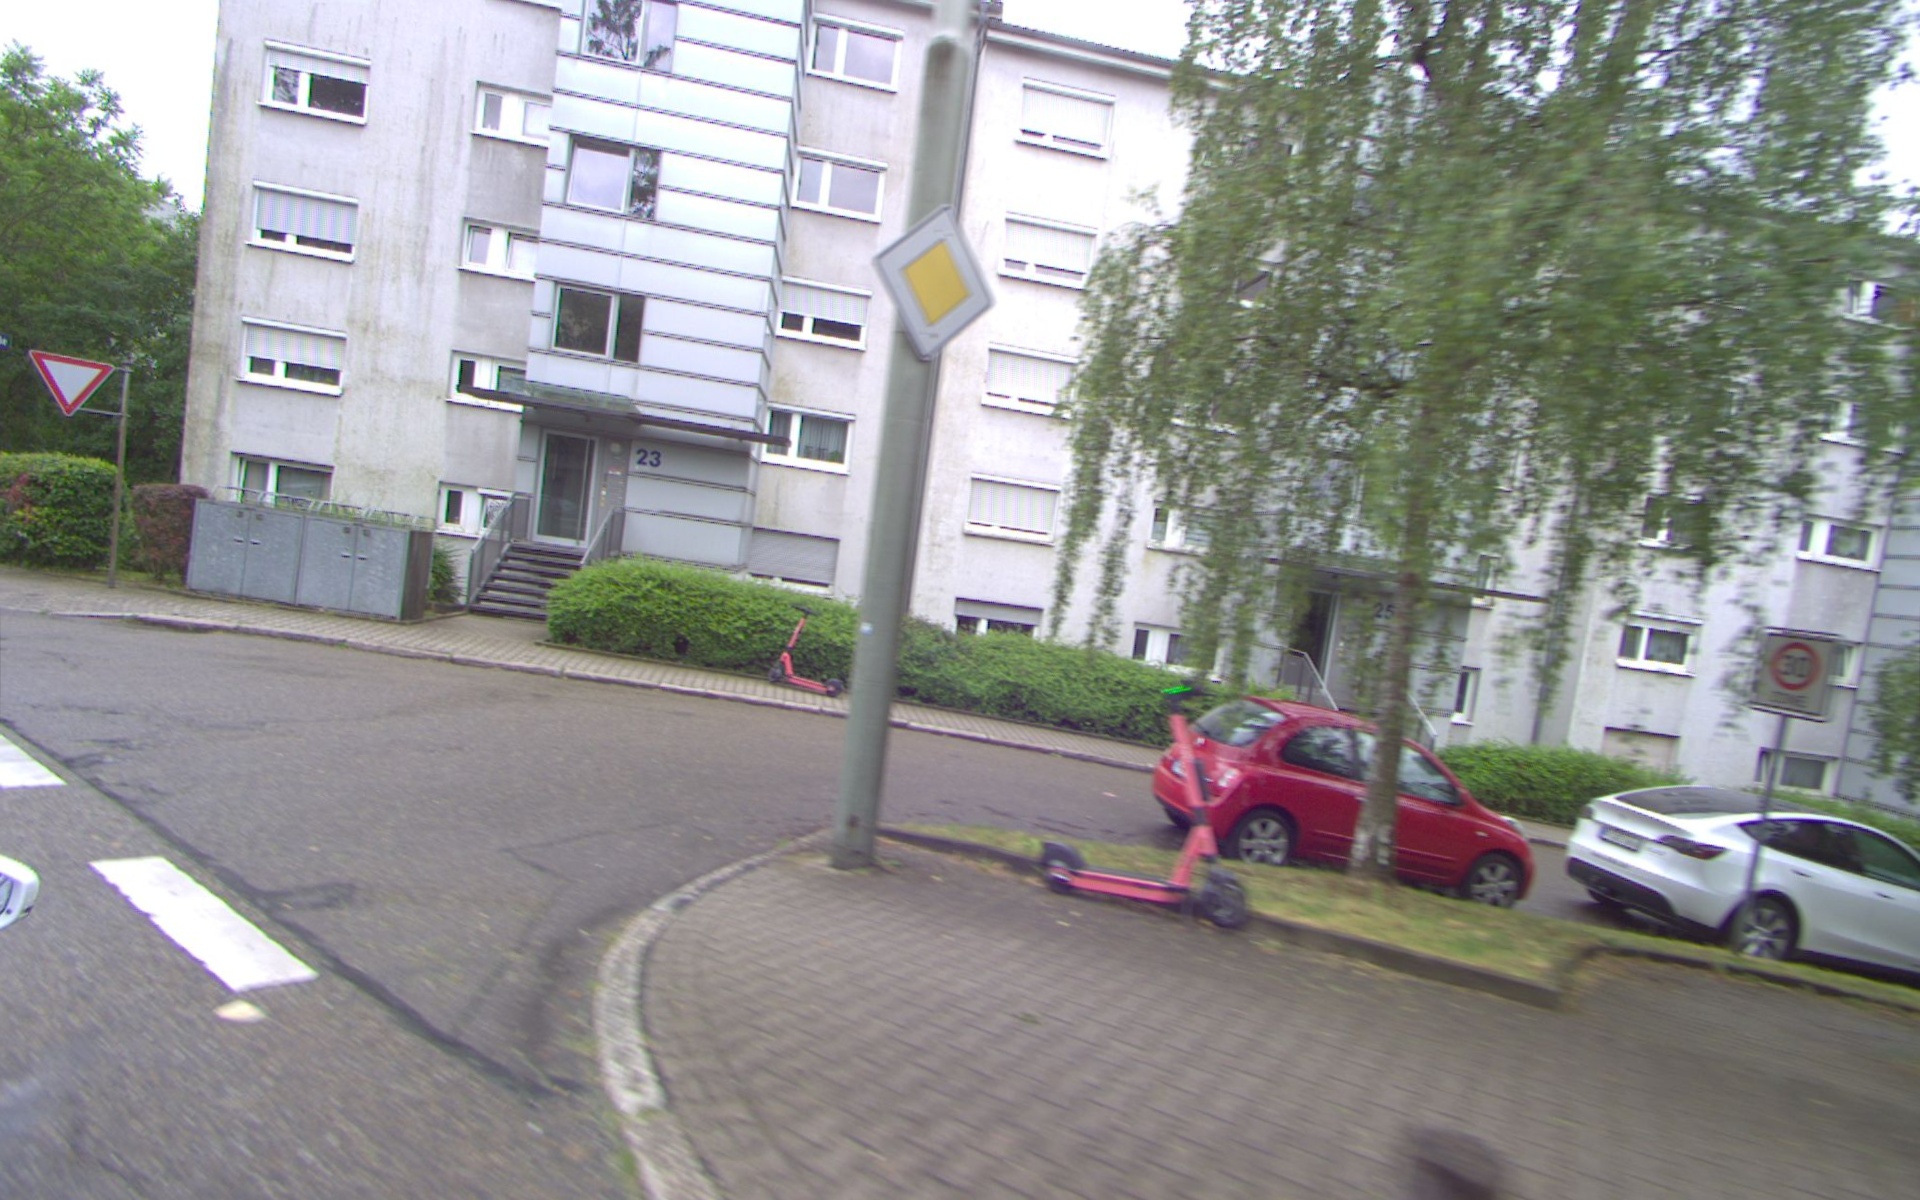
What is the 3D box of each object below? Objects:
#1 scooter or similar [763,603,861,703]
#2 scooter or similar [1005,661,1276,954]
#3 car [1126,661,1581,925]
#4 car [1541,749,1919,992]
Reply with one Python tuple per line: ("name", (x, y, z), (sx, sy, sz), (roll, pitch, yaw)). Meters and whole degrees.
("scooter or similar", (-2.169, 0.769, 14.814), (1.183, 1.200, 0.496), (11, 6, -2))
("scooter or similar", (0.928, 1.029, 5.301), (1.247, 1.269, 0.343), (6, 0, 32))
("car", (3.646, 1.781, 9.641), (3.515, 1.540, 1.641), (13, 1, -9))
("car", (8.803, 2.927, 10.661), (4.308, 1.558, 1.724), (14, -1, -9))
